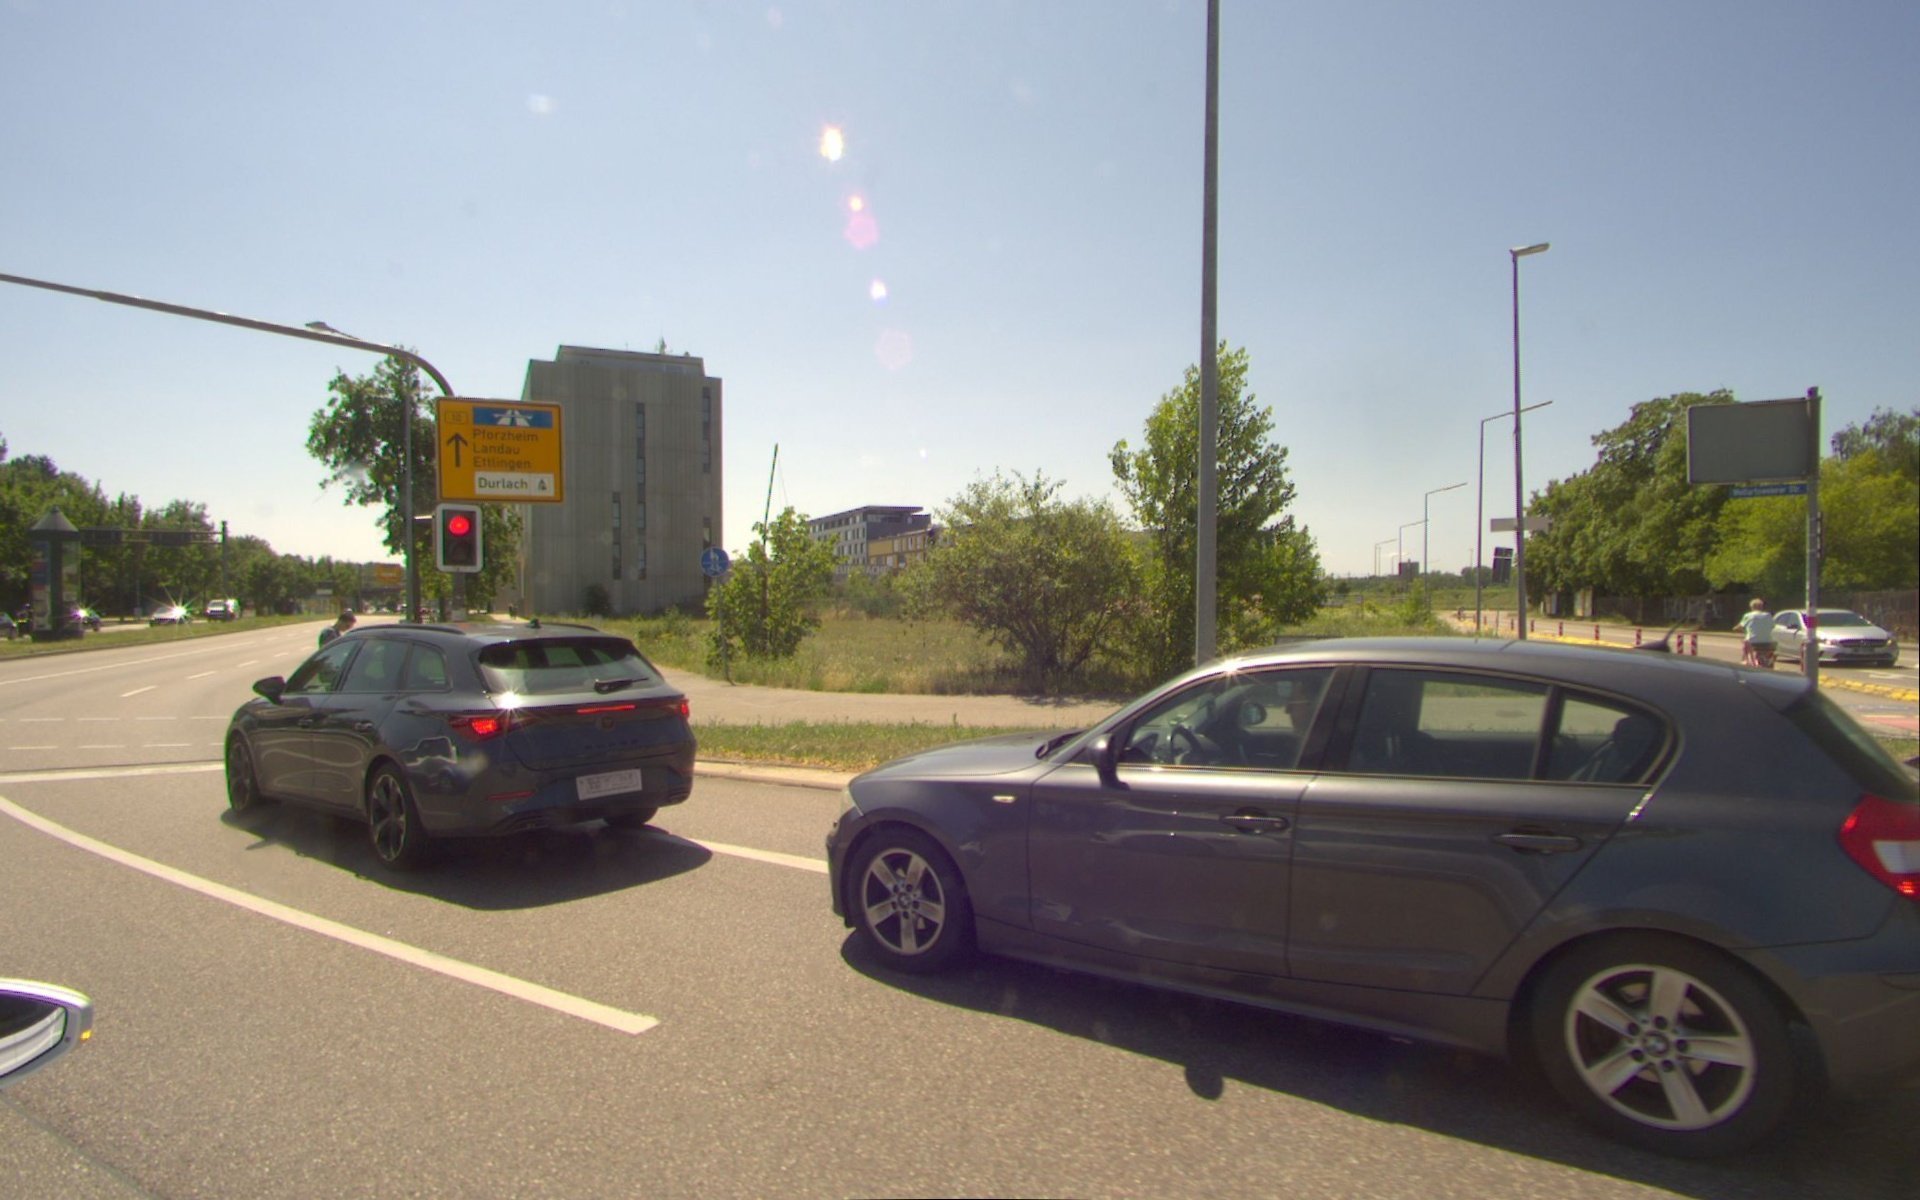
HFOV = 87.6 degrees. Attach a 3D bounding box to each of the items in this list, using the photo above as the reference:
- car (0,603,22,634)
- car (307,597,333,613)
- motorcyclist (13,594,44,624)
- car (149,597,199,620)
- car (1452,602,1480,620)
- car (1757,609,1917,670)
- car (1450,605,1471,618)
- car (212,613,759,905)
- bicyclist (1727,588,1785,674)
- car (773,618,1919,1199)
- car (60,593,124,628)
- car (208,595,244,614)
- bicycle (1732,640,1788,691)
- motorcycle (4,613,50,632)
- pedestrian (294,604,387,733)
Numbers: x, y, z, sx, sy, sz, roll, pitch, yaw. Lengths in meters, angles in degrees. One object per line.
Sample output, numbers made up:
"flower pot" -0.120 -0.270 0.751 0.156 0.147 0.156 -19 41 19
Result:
"car" -47.310 0.938 48.506 1.694 1.494 3.781 -2 0 -27
"car" -69.531 0.541 108.834 1.778 1.714 4.126 -2 0 -25
"motorcyclist" -49.801 0.481 53.527 0.894 1.607 1.007 -2 1 -24
"car" -54.255 0.589 69.190 1.946 1.507 3.983 0 0 -26
"car" 45.313 0.992 89.803 1.729 1.565 3.687 0 0 19
"car" 22.786 0.993 26.216 1.832 1.447 3.991 -1 -1 21
"car" 60.592 1.389 121.303 1.729 1.565 3.687 0 0 19
"car" -3.629 0.836 7.269 4.403 1.437 1.984 0 0 41
"bicyclist" 16.007 0.603 20.133 1.151 1.662 0.741 0 1 -43
"car" 1.298 0.811 4.149 4.024 1.421 1.743 0 -1 34
"car" -52.712 0.631 60.884 1.969 2.040 3.983 -2 0 -27
"car" -63.138 0.401 86.203 1.841 1.575 3.982 0 0 -27
"bicycle" 16.065 1.294 20.098 1.857 0.891 0.623 -1 0 -43
"motorcycle" -49.723 1.199 53.404 0.883 0.964 2.807 -2 0 -23
"pedestrian" -8.403 0.900 13.619 0.941 1.659 0.754 -2 1 -26
